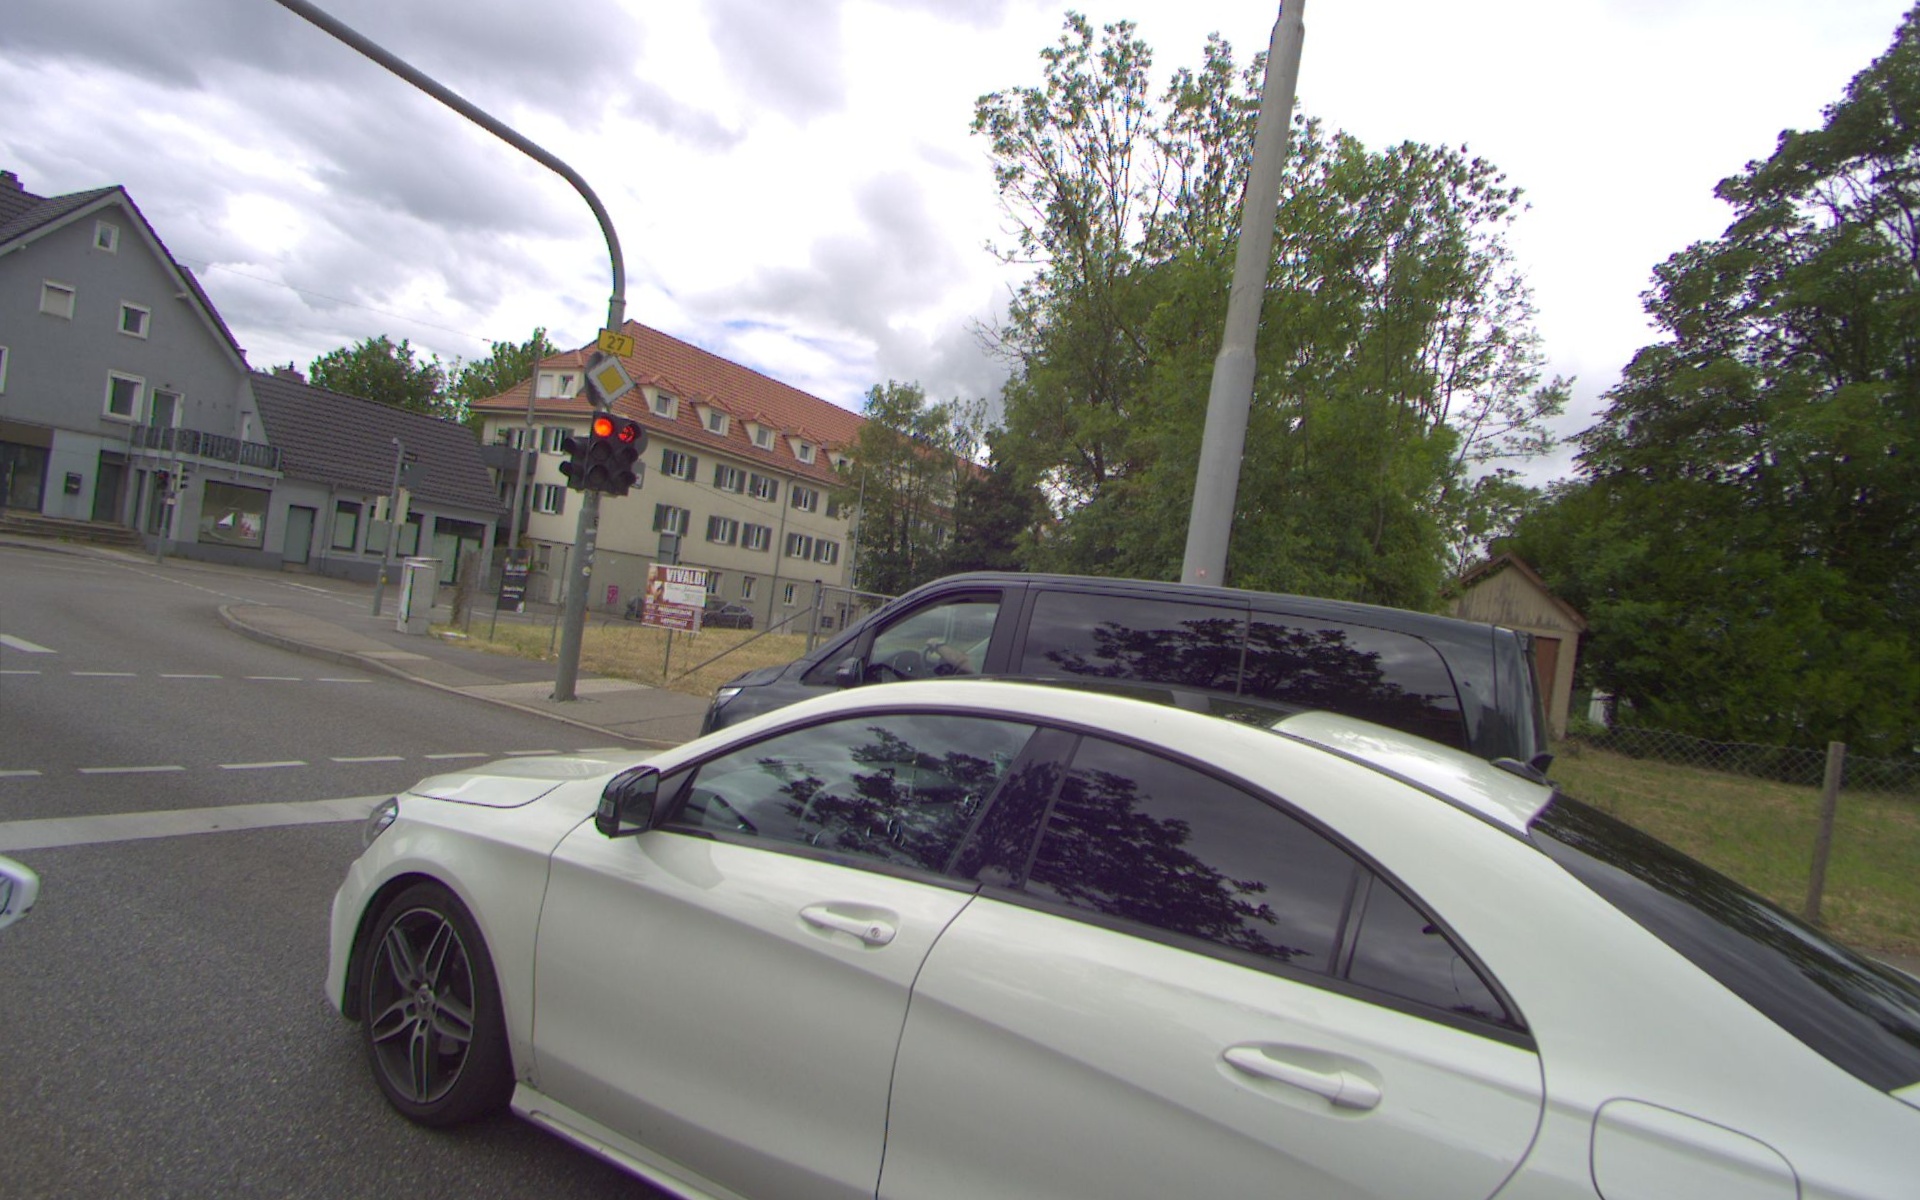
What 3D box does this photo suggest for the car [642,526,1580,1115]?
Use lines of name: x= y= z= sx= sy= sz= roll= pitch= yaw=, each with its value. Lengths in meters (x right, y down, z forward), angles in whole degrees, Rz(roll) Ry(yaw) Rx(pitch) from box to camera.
car: x=0.662 y=0.809 z=5.688 sx=4.631 sy=1.860 sz=1.953 roll=7 pitch=-2 yaw=32

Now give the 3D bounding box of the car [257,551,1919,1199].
car: x=0.159 y=0.847 z=2.651 sx=4.305 sy=1.451 sz=1.651 roll=7 pitch=0 yaw=32

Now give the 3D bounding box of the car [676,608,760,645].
car: x=-12.627 y=1.399 z=52.659 sx=1.839 sy=1.393 sz=3.996 roll=7 pitch=-2 yaw=32

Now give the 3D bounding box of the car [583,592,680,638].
car: x=-15.522 y=0.737 z=47.671 sx=1.839 sy=1.554 sz=3.996 roll=7 pitch=-2 yaw=32
